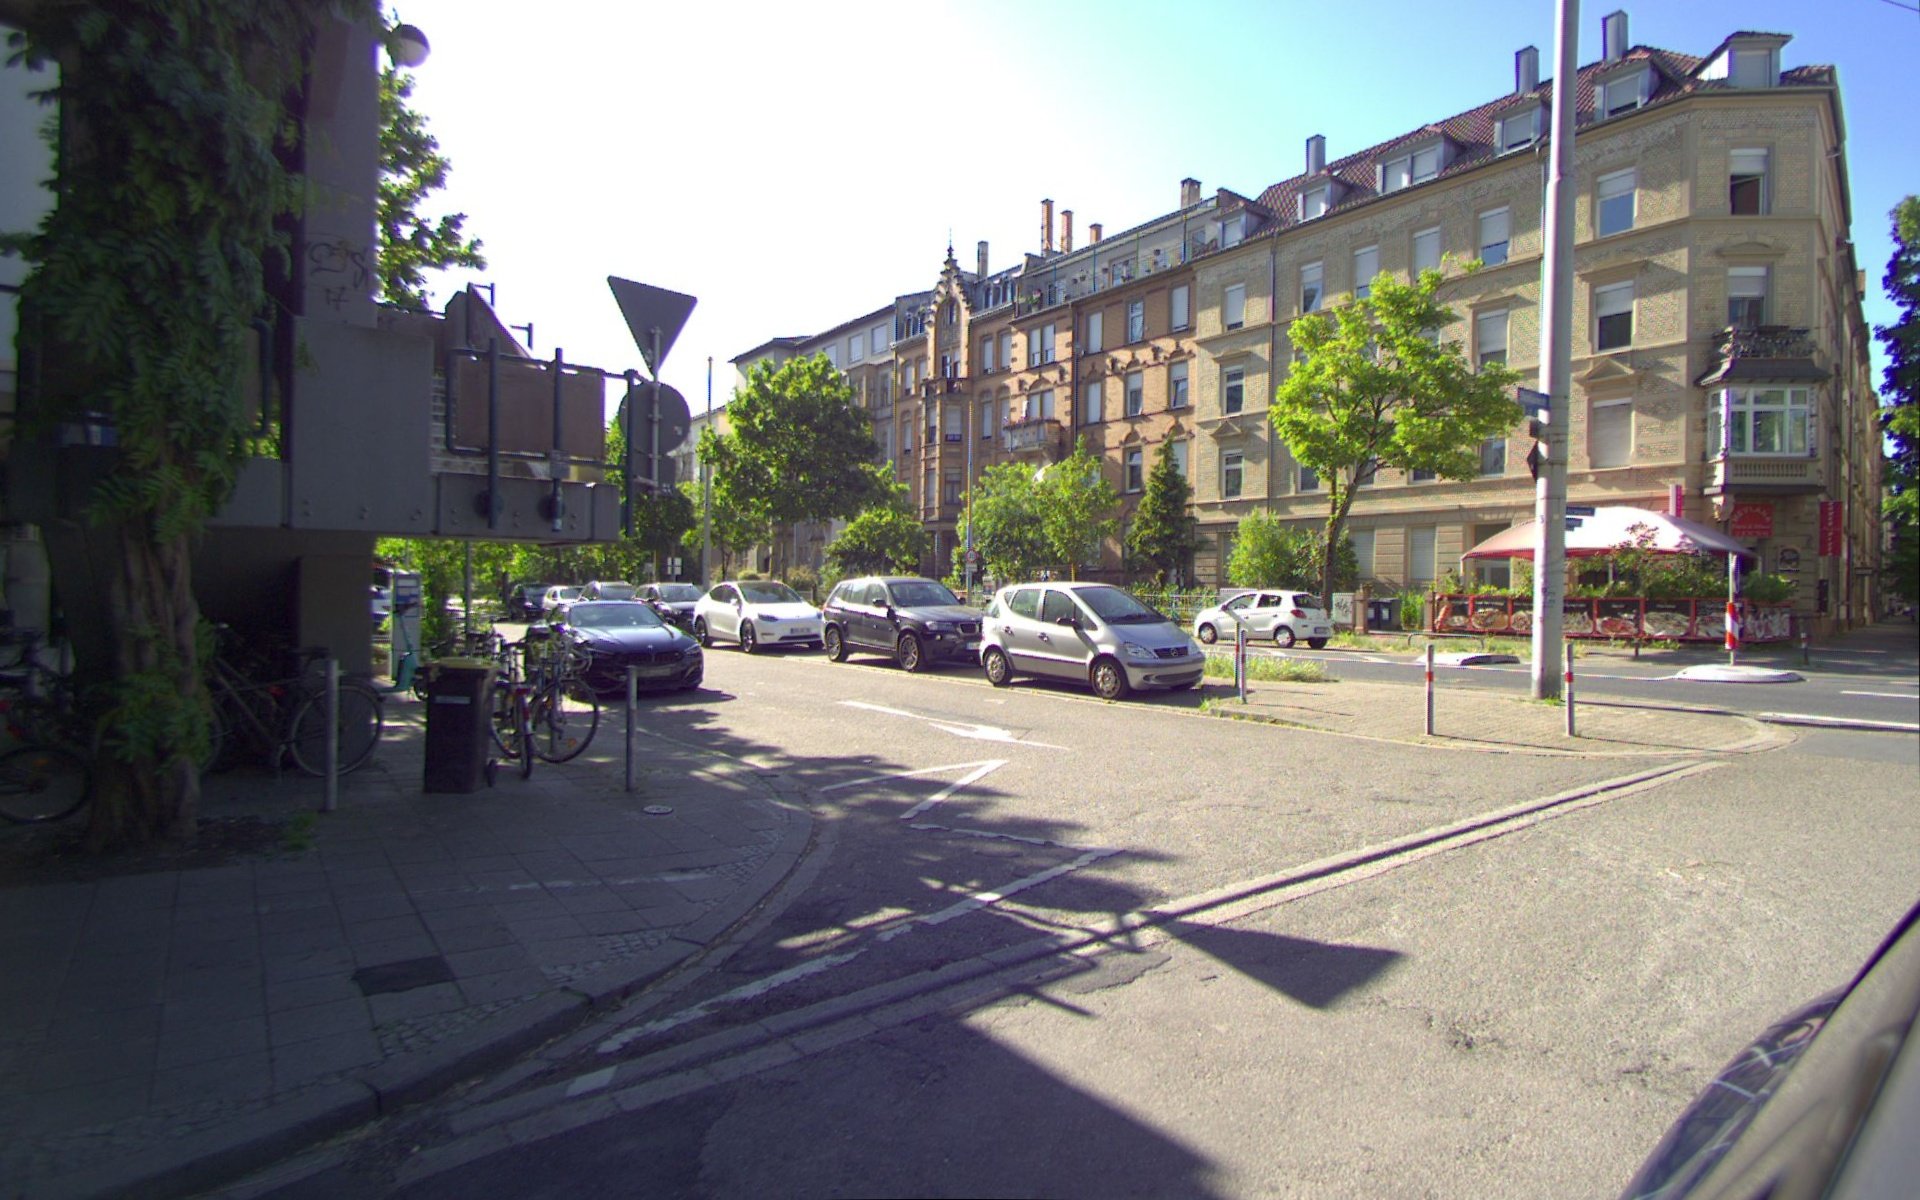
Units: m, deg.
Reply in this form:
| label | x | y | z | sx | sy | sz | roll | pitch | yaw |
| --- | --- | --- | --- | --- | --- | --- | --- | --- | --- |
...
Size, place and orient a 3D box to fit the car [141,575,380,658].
| label | x | y | z | sx | sy | sz | roll | pitch | yaw |
| --- | --- | --- | --- | --- | --- | --- | --- | --- | --- |
| car | -14.394 | 0.290 | 20.919 | 3.929 | 1.570 | 1.768 | 0 | 1 | -40 |

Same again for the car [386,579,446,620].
| label | x | y | z | sx | sy | sz | roll | pitch | yaw |
| --- | --- | --- | --- | --- | --- | --- | --- | --- | --- |
| car | -23.252 | -0.046 | 43.190 | 1.735 | 1.667 | 3.999 | 0 | 1 | -36 |

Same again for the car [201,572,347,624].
| label | x | y | z | sx | sy | sz | roll | pitch | yaw |
| --- | --- | --- | --- | --- | --- | --- | --- | --- | --- |
| car | -23.014 | -0.087 | 33.992 | 3.929 | 1.650 | 1.685 | 0 | 1 | -40 |

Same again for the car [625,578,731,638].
| label | x | y | z | sx | sy | sz | roll | pitch | yaw |
| --- | --- | --- | --- | --- | --- | --- | --- | --- | --- |
| car | -8.364 | 0.162 | 29.798 | 1.833 | 1.607 | 4.001 | -2 | 2 | -34 |

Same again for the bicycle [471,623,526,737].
| label | x | y | z | sx | sy | sz | roll | pitch | yaw |
| --- | --- | --- | --- | --- | --- | --- | --- | --- | --- |
| bicycle | -4.811 | 0.785 | 10.517 | 0.407 | 1.014 | 1.805 | 3 | -1 | -26 |

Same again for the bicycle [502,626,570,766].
| label | x | y | z | sx | sy | sz | roll | pitch | yaw |
| --- | --- | --- | --- | --- | --- | --- | --- | --- | --- |
| bicycle | -3.702 | 0.791 | 8.911 | 0.406 | 1.044 | 1.806 | 3 | -1 | -20 |

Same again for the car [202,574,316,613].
| label | x | y | z | sx | sy | sz | roll | pitch | yaw |
| --- | --- | --- | --- | --- | --- | --- | --- | --- | --- |
| car | -30.446 | -0.297 | 44.007 | 3.929 | 1.650 | 1.685 | 0 | 1 | -40 |

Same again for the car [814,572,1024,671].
| label | x | y | z | sx | sy | sz | roll | pitch | yaw |
| --- | --- | --- | --- | --- | --- | --- | --- | --- | --- |
| car | -0.910 | 0.309 | 19.143 | 1.839 | 1.648 | 4.504 | -1 | 1 | -35 |

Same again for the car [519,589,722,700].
| label | x | y | z | sx | sy | sz | roll | pitch | yaw |
| --- | --- | --- | --- | --- | --- | --- | --- | --- | --- |
| car | -5.416 | 0.562 | 15.741 | 1.861 | 1.415 | 4.531 | -1 | 1 | -34 |

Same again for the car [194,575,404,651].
| label | x | y | z | sx | sy | sz | roll | pitch | yaw |
| --- | --- | --- | --- | --- | --- | --- | --- | --- | --- |
| car | -15.332 | 0.257 | 23.550 | 3.929 | 1.628 | 1.839 | 0 | 1 | -40 |

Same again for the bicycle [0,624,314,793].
| label | x | y | z | sx | sy | sz | roll | pitch | yaw |
| --- | --- | --- | --- | --- | --- | --- | --- | --- | --- |
| bicycle | -5.474 | 0.684 | 6.853 | 1.772 | 1.014 | 0.414 | 2 | 0 | -44 |

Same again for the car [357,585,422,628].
| label | x | y | z | sx | sy | sz | roll | pitch | yaw |
| --- | --- | --- | --- | --- | --- | --- | --- | --- | --- |
| car | -21.177 | 0.200 | 37.521 | 1.660 | 1.488 | 3.999 | 0 | 1 | -36 |

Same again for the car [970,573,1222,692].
| label | x | y | z | sx | sy | sz | roll | pitch | yaw |
| --- | --- | --- | --- | --- | --- | --- | --- | --- | --- |
| car | 1.915 | 0.387 | 15.019 | 1.694 | 1.537 | 3.528 | -1 | 1 | -38 |

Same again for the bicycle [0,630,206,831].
| label | x | y | z | sx | sy | sz | roll | pitch | yaw |
| --- | --- | --- | --- | --- | --- | --- | --- | --- | --- |
| bicycle | -5.211 | 0.700 | 5.463 | 1.772 | 1.013 | 0.483 | 0 | 1 | -45 |

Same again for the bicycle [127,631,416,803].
| label | x | y | z | sx | sy | sz | roll | pitch | yaw |
| --- | --- | --- | --- | --- | --- | --- | --- | --- | --- |
| bicycle | -4.671 | 0.738 | 6.990 | 0.412 | 1.014 | 1.599 | 2 | 0 | 31 |

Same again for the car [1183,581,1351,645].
| label | x | y | z | sx | sy | sz | roll | pitch | yaw |
| --- | --- | --- | --- | --- | --- | --- | --- | --- | --- |
| car | 8.056 | 0.294 | 26.849 | 1.634 | 1.549 | 4.098 | 0 | 1 | -37 |

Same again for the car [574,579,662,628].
| label | x | y | z | sx | sy | sz | roll | pitch | yaw |
| --- | --- | --- | --- | --- | --- | --- | --- | --- | --- |
| car | -11.709 | 0.082 | 34.467 | 1.724 | 1.572 | 3.999 | -1 | 1 | -36 |

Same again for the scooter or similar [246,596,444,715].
| label | x | y | z | sx | sy | sz | roll | pitch | yaw |
| --- | --- | --- | --- | --- | --- | --- | --- | --- | --- |
| scooter or similar | -7.294 | 0.611 | 12.066 | 1.939 | 1.293 | 0.630 | 0 | 1 | -41 |

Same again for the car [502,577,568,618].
| label | x | y | z | sx | sy | sz | roll | pitch | yaw |
| --- | --- | --- | --- | --- | --- | --- | --- | --- | --- |
| car | -17.995 | -0.122 | 42.756 | 1.735 | 1.667 | 3.999 | 0 | 1 | -36 |

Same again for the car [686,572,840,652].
| label | x | y | z | sx | sy | sz | roll | pitch | yaw |
| --- | --- | --- | --- | --- | --- | --- | --- | --- | --- |
| car | -4.830 | 0.216 | 24.333 | 1.860 | 1.682 | 4.529 | -2 | 2 | -36 |

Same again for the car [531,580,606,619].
| label | x | y | z | sx | sy | sz | roll | pitch | yaw |
| --- | --- | --- | --- | --- | --- | --- | --- | --- | --- |
| car | -15.099 | -0.055 | 38.922 | 1.727 | 1.415 | 3.999 | 0 | 1 | -36 |
